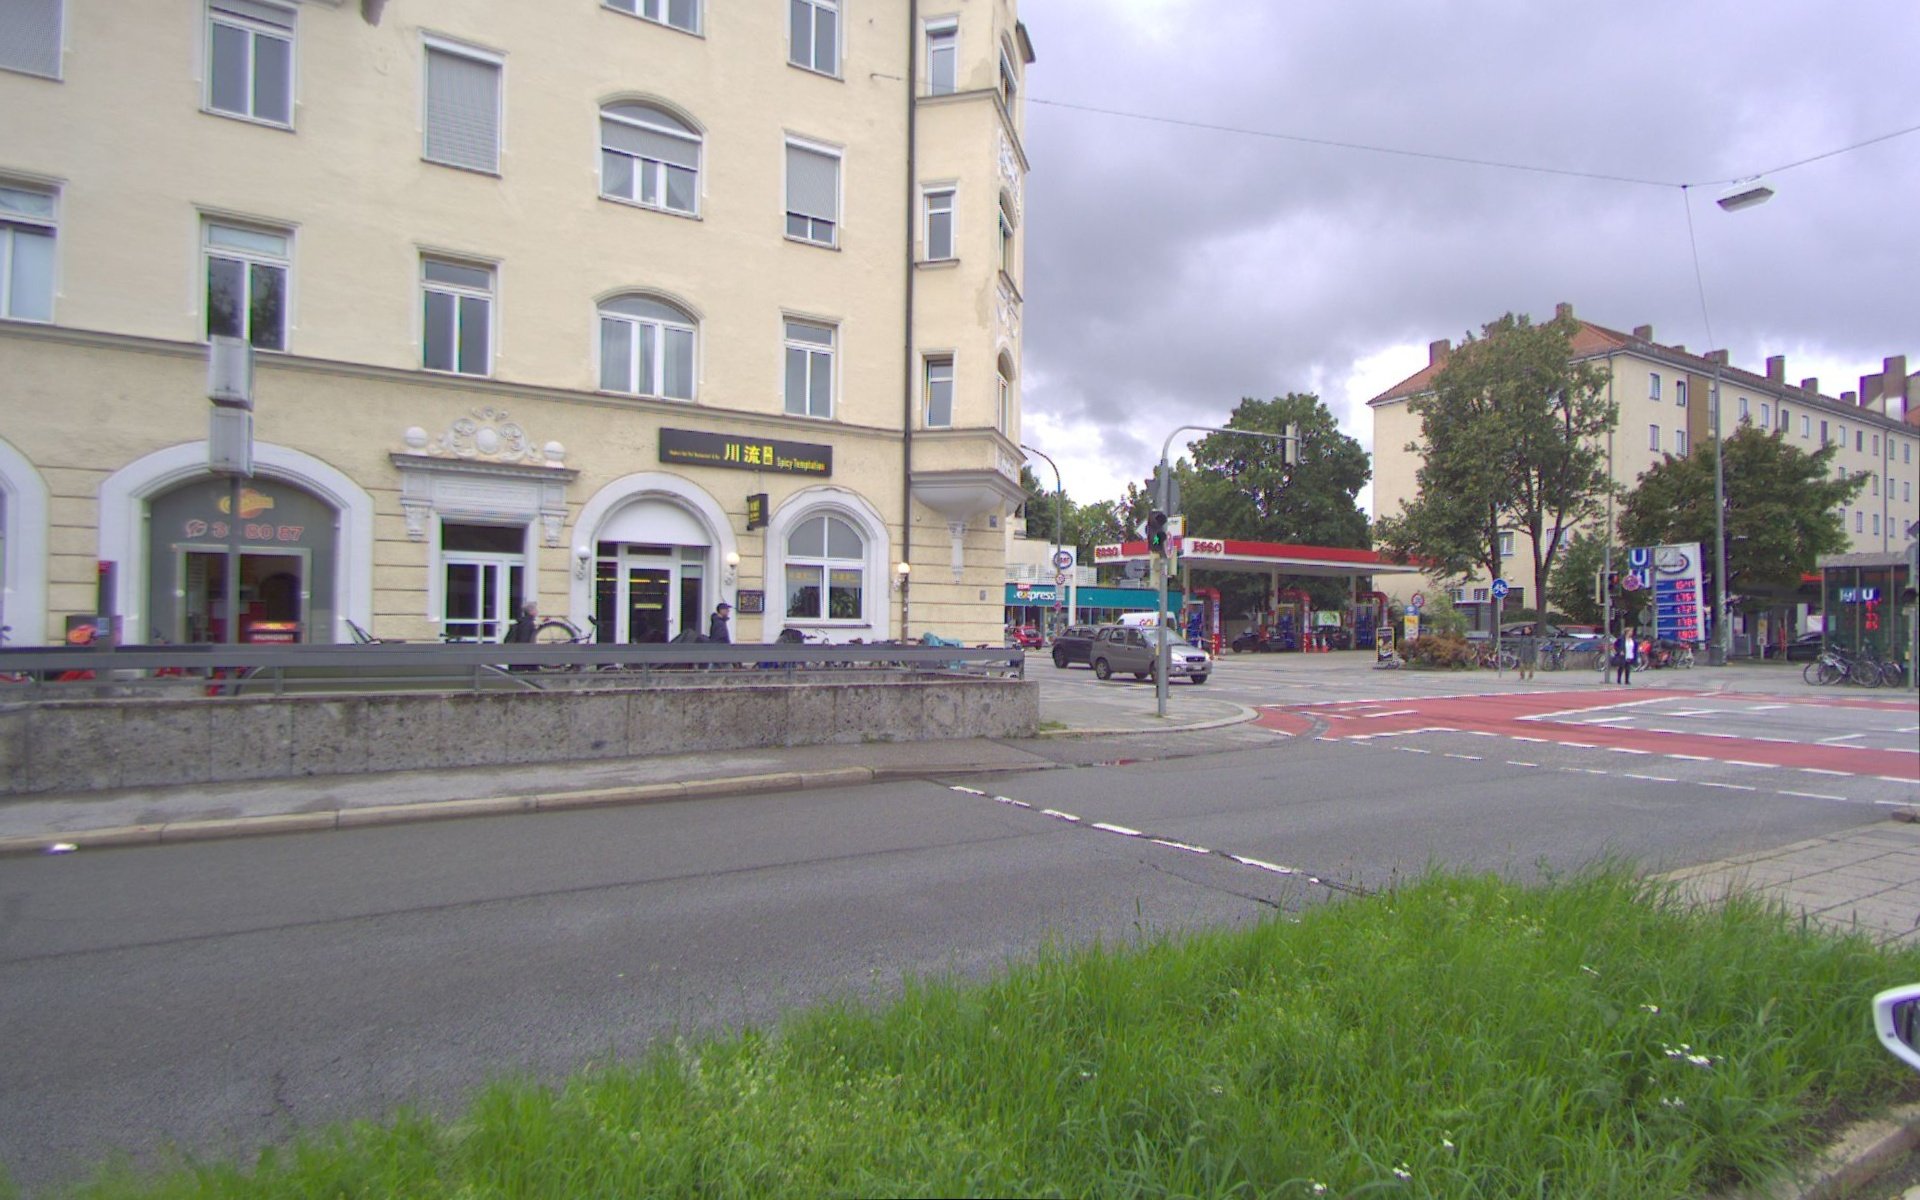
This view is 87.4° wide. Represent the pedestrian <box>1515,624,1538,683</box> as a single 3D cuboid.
[{"bbox_3d":[16.780,1.567,29.765,0.581,1.717,0.576,0,-1,29],"label":"pedestrian"}]

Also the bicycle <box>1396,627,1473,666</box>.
[{"bbox_3d":[16.983,1.648,36.006,0.785,1.267,2.374,2,0,-40],"label":"bicycle"}]

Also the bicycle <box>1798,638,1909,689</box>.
[{"bbox_3d":[25.215,1.770,28.402,0.695,1.322,2.262,1,-1,-28],"label":"bicycle"}]

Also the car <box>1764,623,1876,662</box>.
[{"bbox_3d":[43.270,2.120,50.625,1.860,1.862,3.965,1,-1,-32],"label":"car"}]

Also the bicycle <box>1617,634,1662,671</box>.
[{"bbox_3d":[23.424,1.798,34.618,2.167,1.252,0.603,1,-1,-37],"label":"bicycle"}]

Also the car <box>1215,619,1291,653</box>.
[{"bbox_3d":[16.482,2.009,56.610,1.836,1.808,3.968,1,-1,-30],"label":"car"}]

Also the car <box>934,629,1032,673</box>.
[{"bbox_3d":[0.745,1.775,35.878,1.643,1.430,4.299,1,-1,-27],"label":"car"}]

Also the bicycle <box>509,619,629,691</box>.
[{"bbox_3d":[-5.563,0.771,14.322,1.527,0.993,0.470,1,-1,-30],"label":"bicycle"}]

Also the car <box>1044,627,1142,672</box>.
[{"bbox_3d":[4.563,1.677,34.890,1.643,1.430,3.534,1,-1,-27],"label":"car"}]

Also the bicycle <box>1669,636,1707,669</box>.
[{"bbox_3d":[26.810,1.923,36.968,1.947,1.160,0.603,1,-1,-37],"label":"bicycle"}]

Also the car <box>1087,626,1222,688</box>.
[{"bbox_3d":[5.268,1.501,27.543,1.645,1.537,3.600,1,-1,-31],"label":"car"}]

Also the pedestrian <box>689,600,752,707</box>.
[{"bbox_3d":[-3.991,0.878,16.709,0.931,1.719,0.590,1,-1,-21],"label":"pedestrian"}]

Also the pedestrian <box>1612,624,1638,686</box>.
[{"bbox_3d":[18.890,1.548,28.536,0.528,1.717,0.573,0,-1,44],"label":"pedestrian"}]

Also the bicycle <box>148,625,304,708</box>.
[{"bbox_3d":[-9.181,0.814,12.630,1.527,0.993,0.470,1,-1,-30],"label":"bicycle"}]

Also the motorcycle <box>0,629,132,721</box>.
[{"bbox_3d":[-12.222,0.980,13.439,1.947,1.137,0.610,1,-1,10],"label":"motorcycle"}]

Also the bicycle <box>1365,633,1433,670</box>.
[{"bbox_3d":[15.910,1.849,36.448,0.759,1.252,2.162,1,-1,-39],"label":"bicycle"}]

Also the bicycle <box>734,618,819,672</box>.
[{"bbox_3d":[-3.499,0.848,19.176,1.527,0.993,0.470,1,-1,-30],"label":"bicycle"}]

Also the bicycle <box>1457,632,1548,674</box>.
[{"bbox_3d":[18.466,1.786,34.239,2.664,1.267,0.792,2,0,30],"label":"bicycle"}]

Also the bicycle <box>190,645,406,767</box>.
[{"bbox_3d":[-6.724,1.039,10.270,1.798,1.130,0.392,1,-1,-39],"label":"bicycle"}]

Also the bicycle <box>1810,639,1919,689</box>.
[{"bbox_3d":[25.888,1.806,28.775,0.685,1.322,2.275,1,-1,-28],"label":"bicycle"}]

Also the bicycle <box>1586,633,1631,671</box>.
[{"bbox_3d":[22.437,1.785,34.723,2.167,1.252,0.603,1,-1,-37],"label":"bicycle"}]

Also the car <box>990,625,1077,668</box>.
[{"bbox_3d":[2.750,1.731,38.318,1.677,1.534,3.308,1,-1,-32],"label":"car"}]

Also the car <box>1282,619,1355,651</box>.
[{"bbox_3d":[21.661,2.094,60.781,1.836,1.808,3.968,1,-1,-30],"label":"car"}]

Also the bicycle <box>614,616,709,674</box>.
[{"bbox_3d":[-5.252,0.784,17.712,1.527,0.993,0.470,1,-1,-30],"label":"bicycle"}]

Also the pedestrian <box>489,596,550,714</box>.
[{"bbox_3d":[-6.573,0.805,14.994,0.761,1.719,0.540,1,-1,-31],"label":"pedestrian"}]

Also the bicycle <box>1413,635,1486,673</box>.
[{"bbox_3d":[16.926,1.844,34.806,0.760,1.252,2.161,1,-1,-41],"label":"bicycle"}]

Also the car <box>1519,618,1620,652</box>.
[{"bbox_3d":[30.133,1.702,49.784,1.795,1.630,3.937,1,-1,-29],"label":"car"}]

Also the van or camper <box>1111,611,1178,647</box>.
[{"bbox_3d":[12.551,1.962,68.681,1.899,2.354,4.508,1,-1,-34],"label":"van or camper"}]

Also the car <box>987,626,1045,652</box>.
[{"bbox_3d":[3.619,2.484,65.245,1.848,1.598,3.967,1,-1,-31],"label":"car"}]
